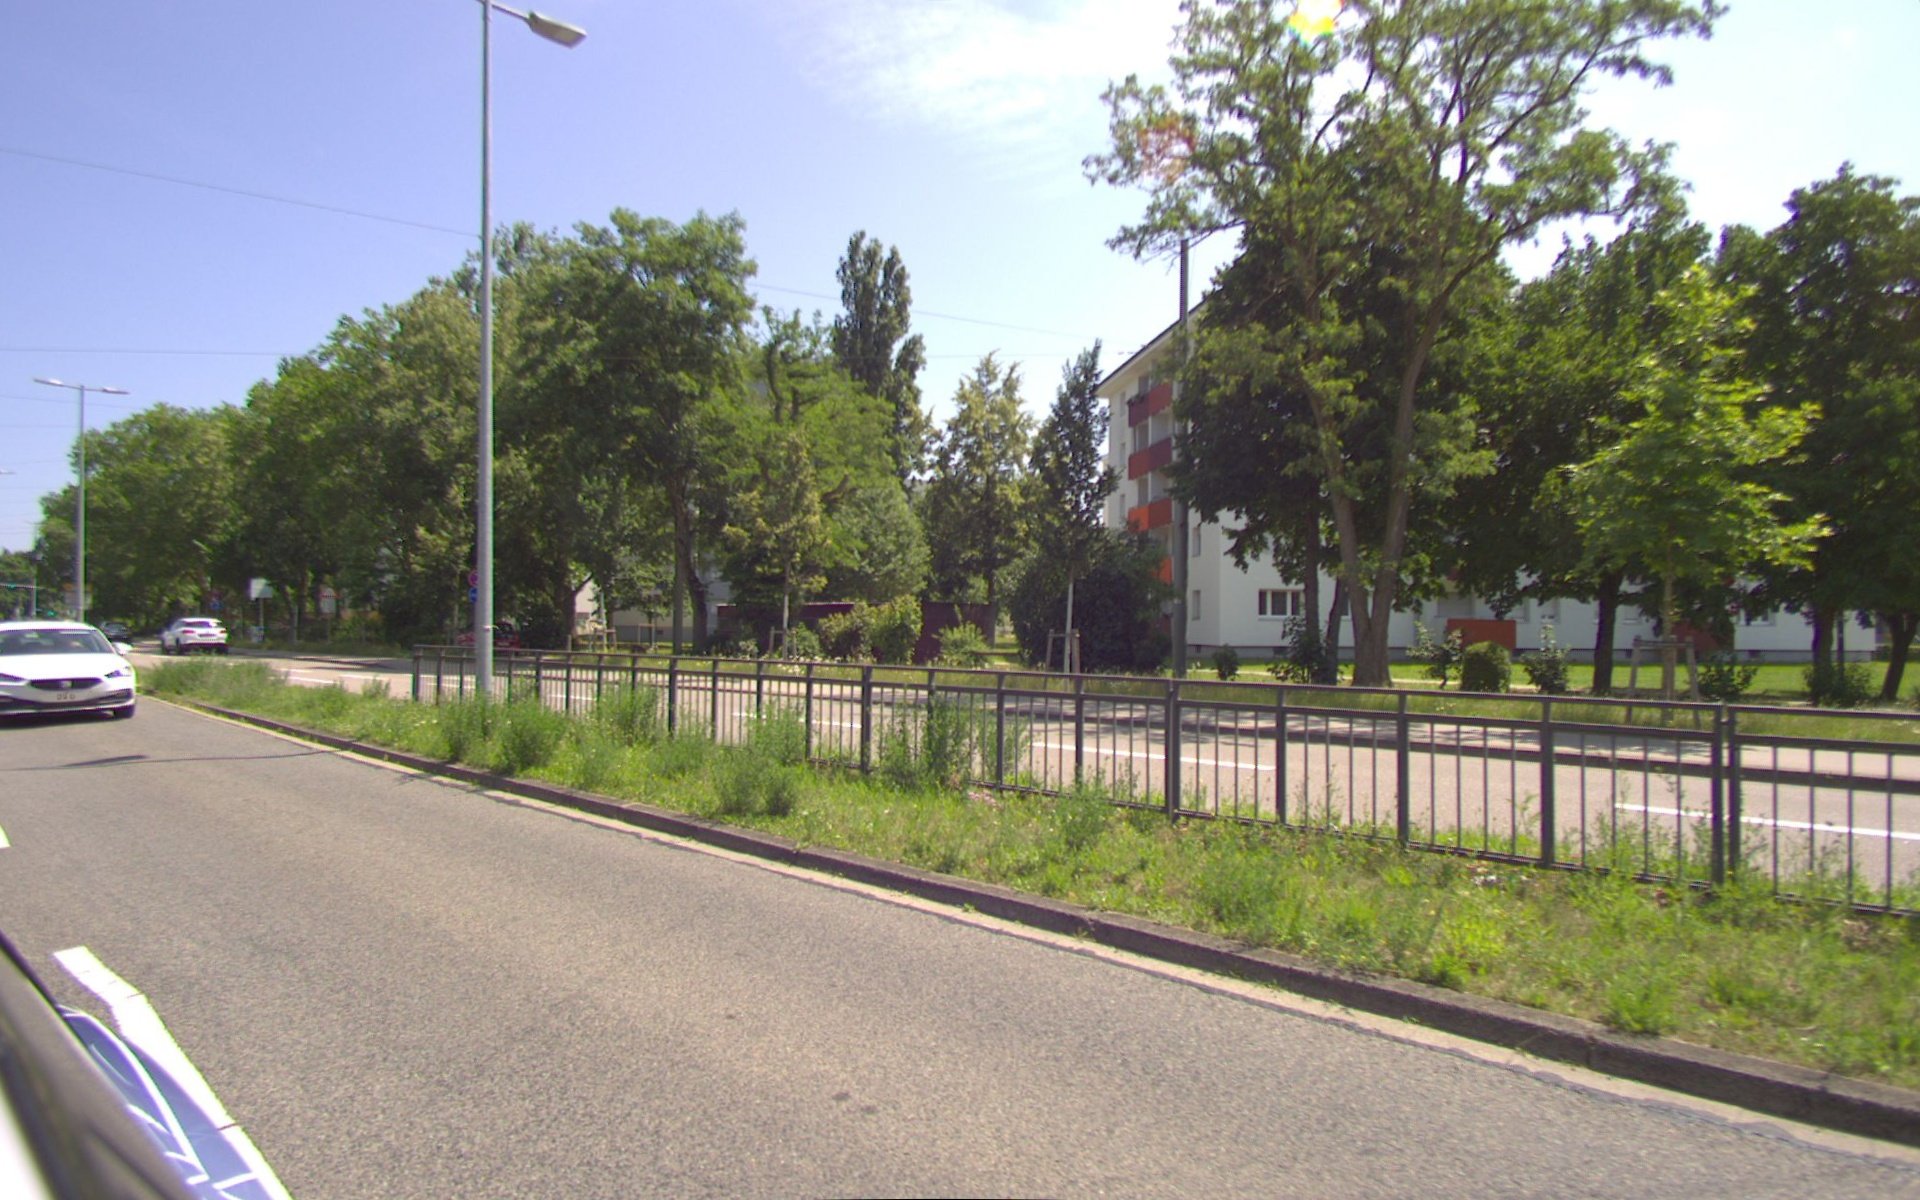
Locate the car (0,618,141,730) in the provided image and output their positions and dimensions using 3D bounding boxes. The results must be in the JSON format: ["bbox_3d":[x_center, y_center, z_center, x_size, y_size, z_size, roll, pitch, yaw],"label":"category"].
[{"bbox_3d":[-14.002,1.024,15.380,4.109,1.479,1.749,-1,-1,41],"label":"car"}]

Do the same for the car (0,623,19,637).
[{"bbox_3d":[-103.104,3.221,109.279,4.634,1.520,1.721,-1,-3,42],"label":"car"}]

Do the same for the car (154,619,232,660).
[{"bbox_3d":[-34.930,1.778,46.032,4.476,1.772,1.840,-1,-4,40],"label":"car"}]

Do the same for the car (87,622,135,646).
[{"bbox_3d":[-56.301,2.259,67.065,4.080,1.566,1.749,-1,-3,40],"label":"car"}]

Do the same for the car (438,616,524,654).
[{"bbox_3d":[-20.866,1.511,44.056,3.998,1.597,1.972,-1,-3,41],"label":"car"}]
